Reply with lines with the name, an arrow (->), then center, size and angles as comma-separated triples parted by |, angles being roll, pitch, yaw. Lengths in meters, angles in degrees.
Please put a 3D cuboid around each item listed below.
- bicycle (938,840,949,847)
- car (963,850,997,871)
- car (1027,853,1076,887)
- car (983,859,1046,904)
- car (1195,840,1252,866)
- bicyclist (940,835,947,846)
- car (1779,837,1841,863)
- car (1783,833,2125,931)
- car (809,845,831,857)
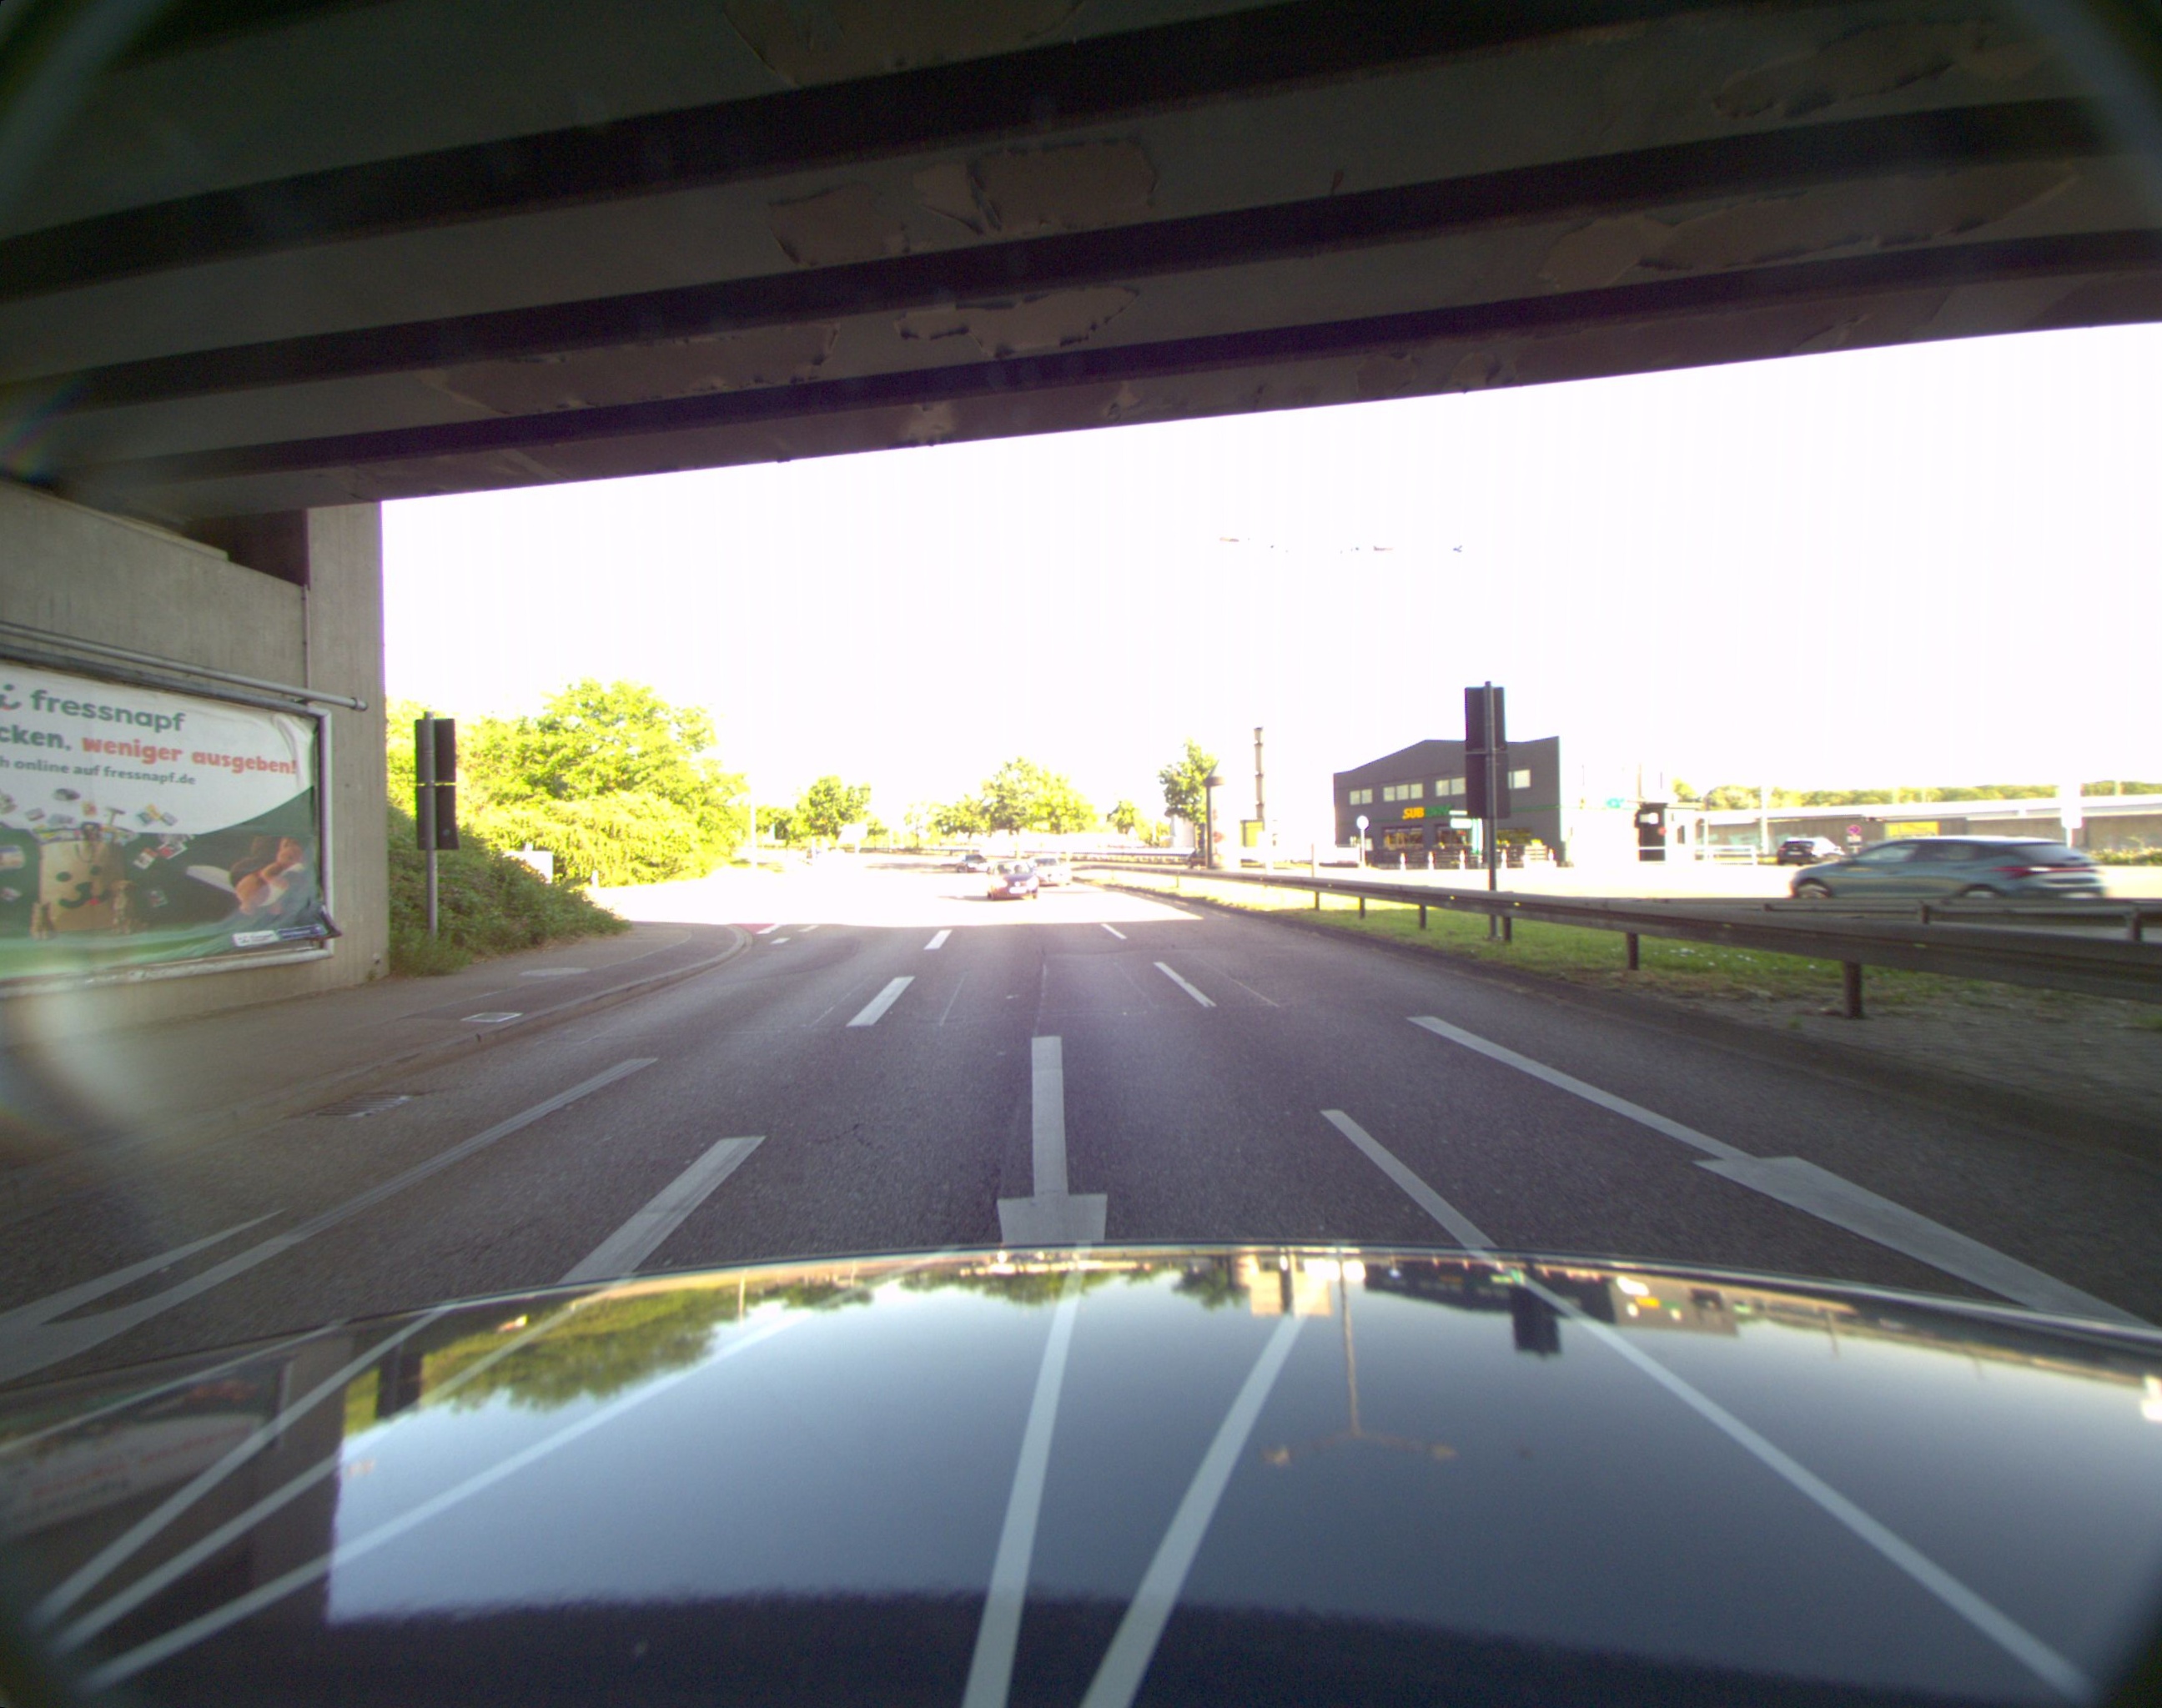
bicycle -> -19.612, -1.528, 108.433 | 0.595, 1.017, 1.745 | -4, 2, -45
car -> -7.628, 0.455, 57.156 | 1.858, 1.471, 4.223 | -2, 1, -16
car -> -1.443, 0.720, 36.259 | 1.850, 1.412, 3.978 | -1, 1, -9
car -> -2.537, 0.936, 28.023 | 1.739, 1.412, 4.314 | -3, 1, -12
car -> 9.016, -0.066, 48.463 | 1.832, 1.578, 4.176 | -1, 0, -18
bicyclist -> -19.576, -1.914, 108.406 | 0.707, 1.419, 0.595 | -1, 2, 43
car -> 38.260, -0.203, 39.848 | 4.191, 1.274, 1.825 | 1, 1, -39
car -> 15.531, 0.434, 13.860 | 1.624, 1.511, 3.822 | -1, 0, -10
car -> -33.922, -0.361, 98.618 | 1.853, 1.474, 3.972 | -1, -1, -32
